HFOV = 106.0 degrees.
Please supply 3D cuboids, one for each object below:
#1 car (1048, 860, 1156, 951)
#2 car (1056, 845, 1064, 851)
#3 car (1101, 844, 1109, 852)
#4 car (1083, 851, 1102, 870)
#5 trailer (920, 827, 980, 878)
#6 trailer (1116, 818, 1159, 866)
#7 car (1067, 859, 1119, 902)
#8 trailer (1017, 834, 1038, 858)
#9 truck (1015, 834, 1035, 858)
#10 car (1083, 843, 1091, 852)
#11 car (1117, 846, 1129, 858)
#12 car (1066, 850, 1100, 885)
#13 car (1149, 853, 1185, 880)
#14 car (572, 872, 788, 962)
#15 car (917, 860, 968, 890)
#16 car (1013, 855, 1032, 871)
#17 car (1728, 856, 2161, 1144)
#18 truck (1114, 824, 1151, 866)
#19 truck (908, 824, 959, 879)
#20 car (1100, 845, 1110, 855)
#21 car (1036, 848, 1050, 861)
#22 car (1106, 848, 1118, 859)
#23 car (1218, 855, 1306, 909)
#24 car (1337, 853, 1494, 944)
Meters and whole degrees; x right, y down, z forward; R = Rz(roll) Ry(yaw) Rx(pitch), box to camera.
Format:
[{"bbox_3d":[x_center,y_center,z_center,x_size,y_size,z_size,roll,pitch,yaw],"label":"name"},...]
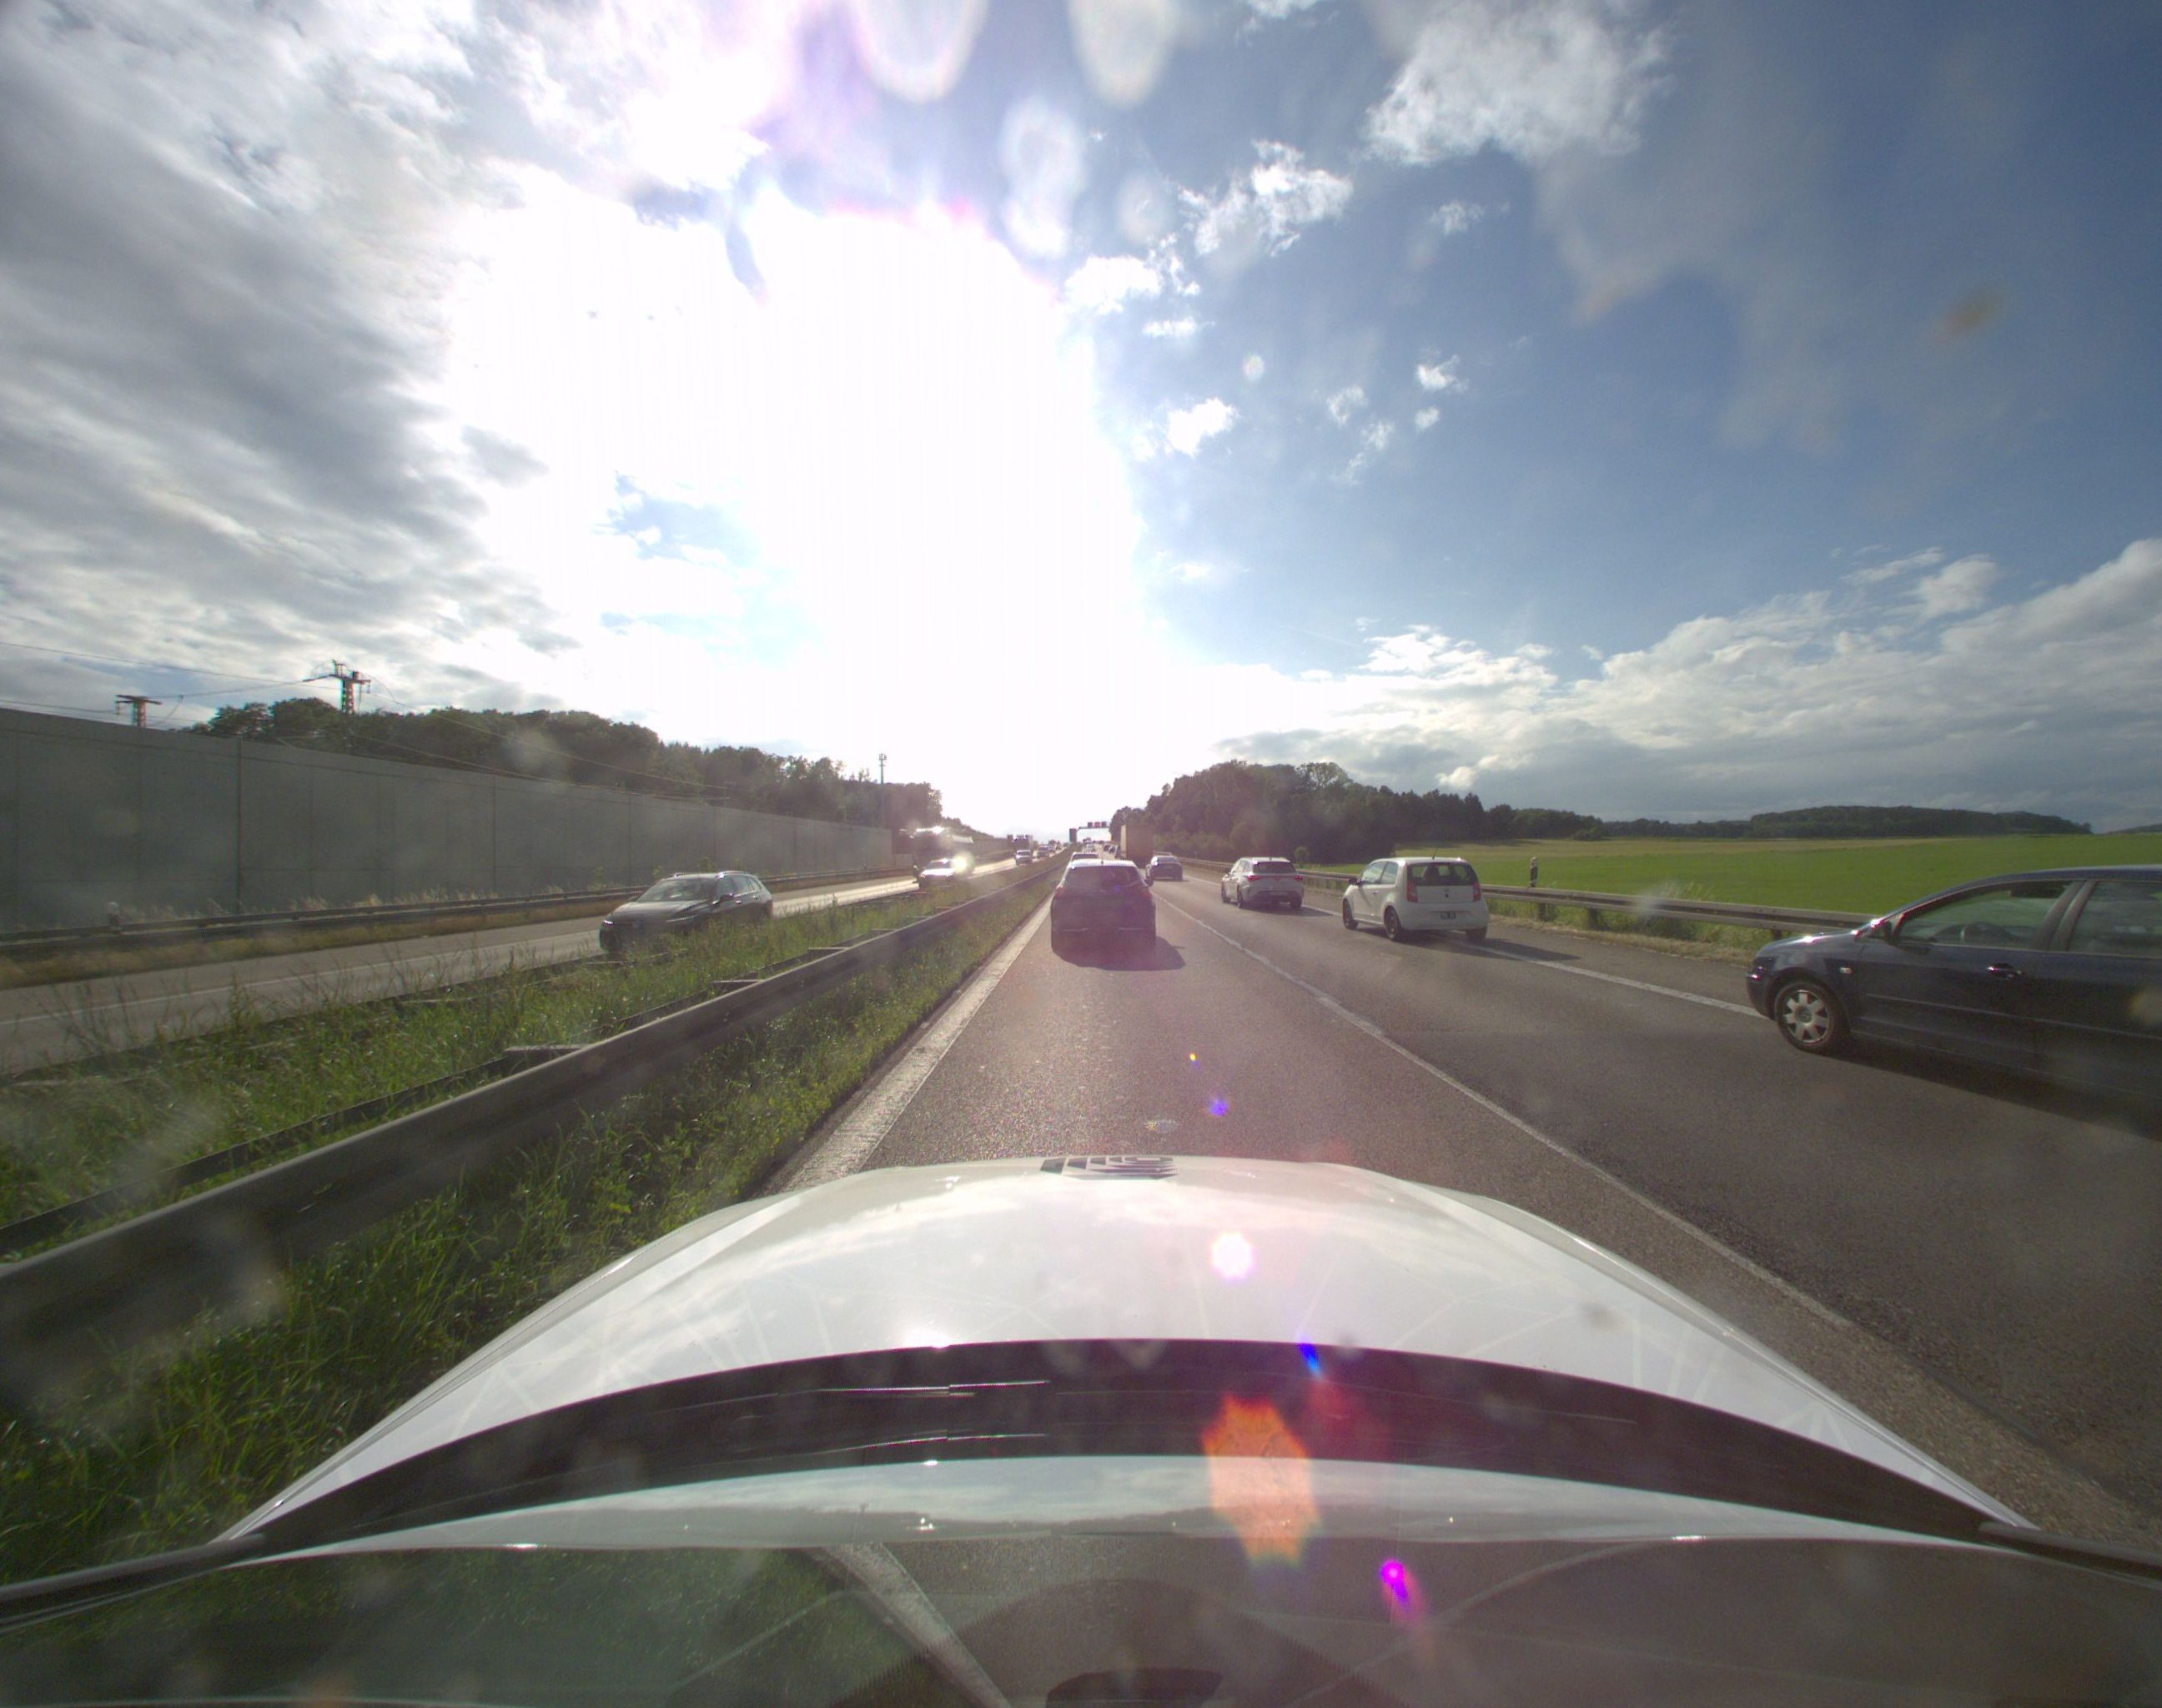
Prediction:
[{"bbox_3d":[0.403,0.831,14.572,1.703,1.426,3.379,-1,-1,2],"label":"car"},{"bbox_3d":[-5.356,-1.438,210.629,1.896,1.464,4.183,0,-1,0],"label":"car"},{"bbox_3d":[6.093,-1.479,210.713,1.987,2.014,3.999,0,-1,0],"label":"car"},{"bbox_3d":[1.218,0.736,88.994,1.987,2.014,3.999,0,-1,0],"label":"car"},{"bbox_3d":[-10.718,-0.059,68.158,2.531,3.771,12.544,-2,-1,1],"label":"trailer"},{"bbox_3d":[5.522,-1.017,82.198,3.537,4.457,12.720,0,-1,0],"label":"trailer"},{"bbox_3d":[0.434,0.868,27.938,1.667,1.367,3.597,0,-1,2],"label":"car"},{"bbox_3d":[-9.536,-1.311,146.754,2.750,4.115,12.905,-1,-1,1],"label":"trailer"},{"bbox_3d":[-9.605,-1.325,139.918,2.744,4.090,6.953,-1,-1,1],"label":"truck"},{"bbox_3d":[1.462,-1.554,195.565,1.987,2.014,3.999,0,-1,0],"label":"car"},{"bbox_3d":[6.222,-0.283,121.156,1.660,1.755,3.328,0,-1,2],"label":"car"},{"bbox_3d":[0.136,0.692,41.845,1.667,1.726,3.597,0,-1,2],"label":"car"},{"bbox_3d":[4.941,0.704,47.118,1.740,1.475,4.148,0,-1,2],"label":"car"},{"bbox_3d":[-7.677,1.136,16.166,1.986,1.486,4.400,0,-1,2],"label":"car"},{"bbox_3d":[-7.291,1.076,43.311,1.796,1.516,4.692,0,-1,2],"label":"car"},{"bbox_3d":[-6.975,1.054,96.992,1.853,1.834,4.281,0,-1,1],"label":"car"},{"bbox_3d":[6.271,0.738,4.895,1.705,1.445,3.771,0,-1,-2],"label":"car"},{"bbox_3d":[5.548,-0.928,88.954,3.570,4.380,6.686,0,-1,0],"label":"truck"},{"bbox_3d":[-10.898,-0.164,60.817,2.543,3.798,5.418,-3,-1,1],"label":"truck"},{"bbox_3d":[5.224,-0.886,177.104,1.987,2.014,3.999,0,-1,0],"label":"car"},{"bbox_3d":[-6.206,0.073,132.966,1.987,1.883,4.787,-3,-1,1],"label":"car"},{"bbox_3d":[5.997,-0.135,157.893,1.987,2.014,3.999,0,-1,0],"label":"car"},{"bbox_3d":[5.208,0.780,23.910,1.616,1.445,4.145,0,-1,-1],"label":"car"},{"bbox_3d":[6.139,0.738,15.337,1.544,1.495,3.377,0,0,-1],"label":"car"}]
